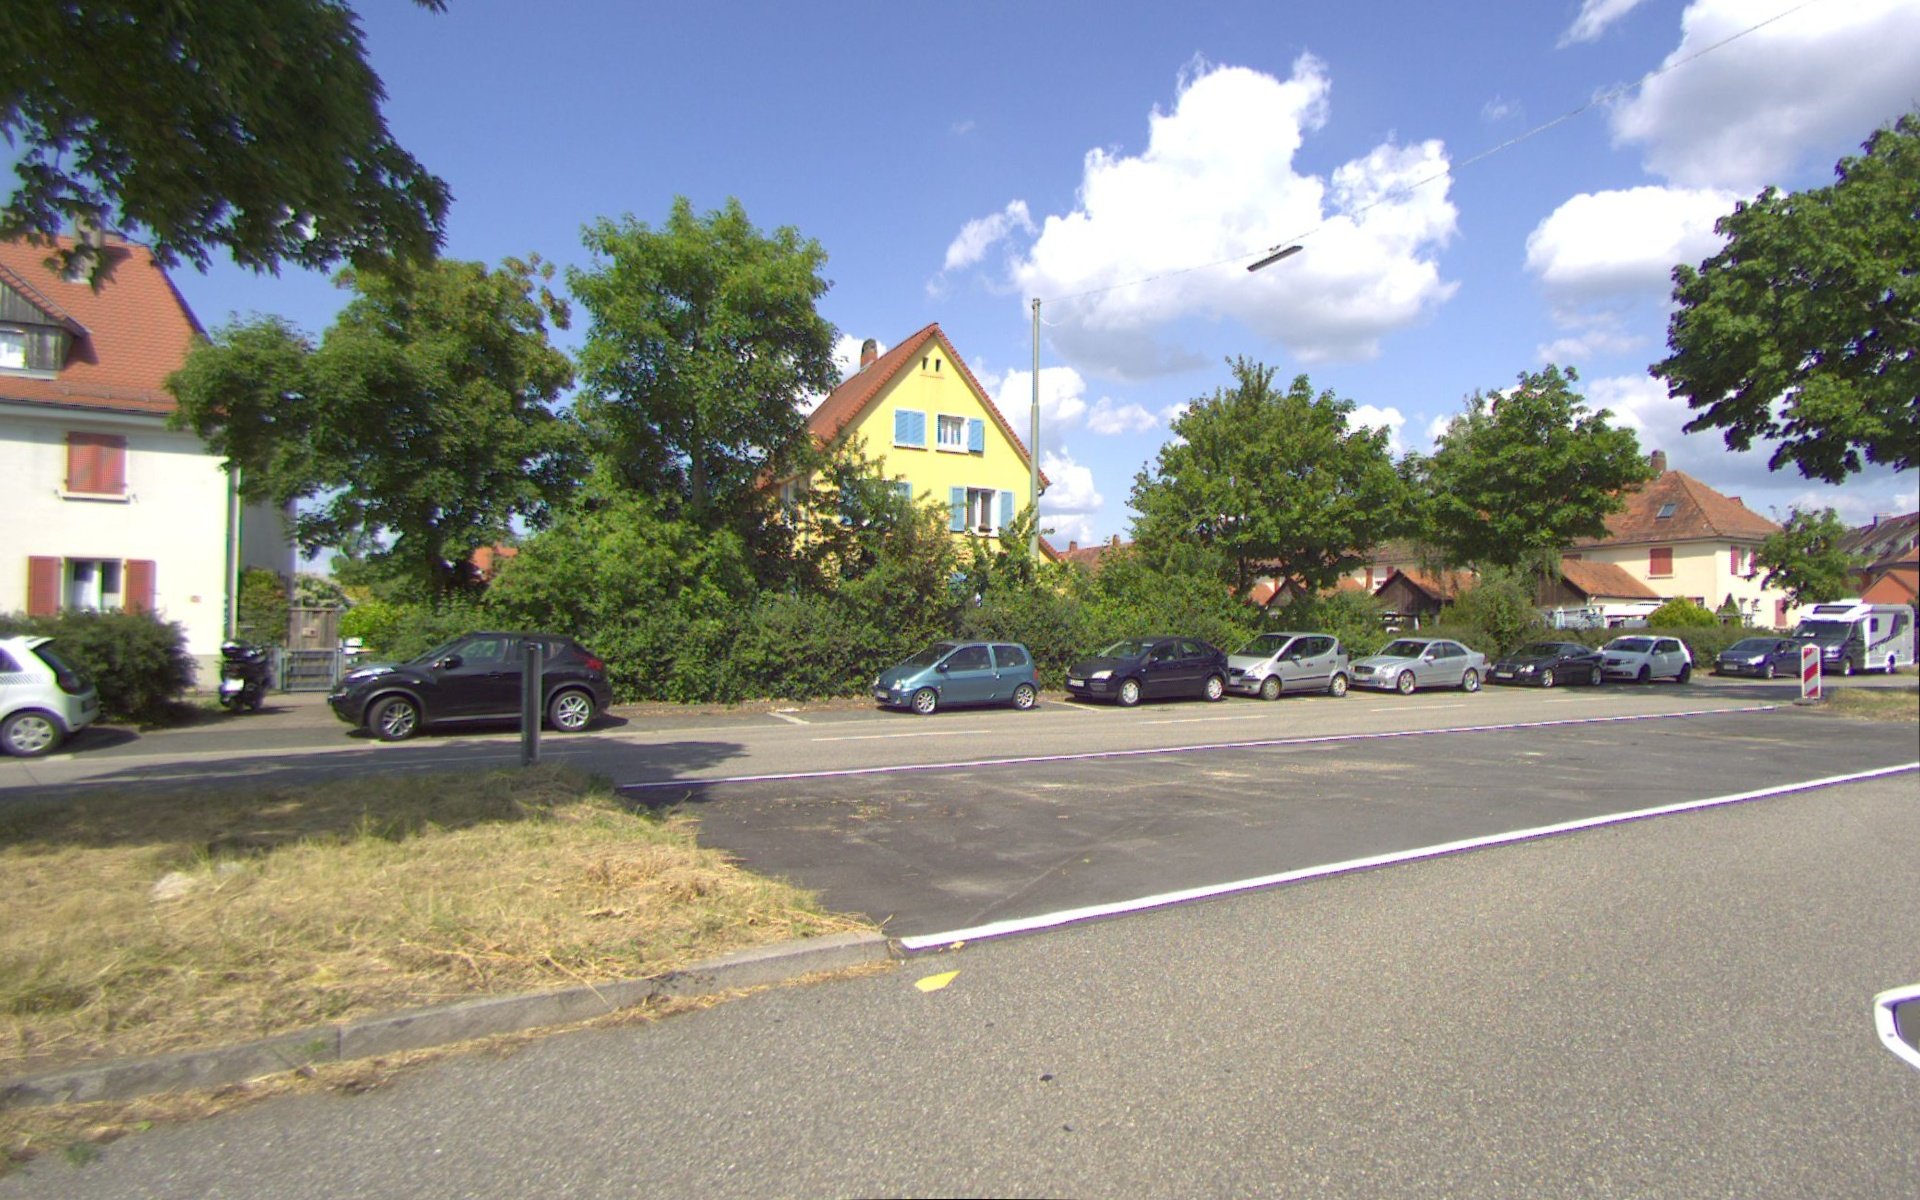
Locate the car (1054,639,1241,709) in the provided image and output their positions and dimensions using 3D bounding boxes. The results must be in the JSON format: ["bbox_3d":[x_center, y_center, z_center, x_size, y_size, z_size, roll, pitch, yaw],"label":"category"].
[{"bbox_3d":[4.311,1.626,22.829,4.306,1.413,1.396,1,1,-30],"label":"car"}]

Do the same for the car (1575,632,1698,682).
[{"bbox_3d":[22.535,1.886,33.424,4.073,1.505,1.682,2,0,-29],"label":"car"}]

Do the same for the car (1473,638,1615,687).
[{"bbox_3d":[17.967,1.885,30.859,4.527,1.324,1.629,1,1,-29],"label":"car"}]

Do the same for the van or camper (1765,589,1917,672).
[{"bbox_3d":[36.001,1.185,40.978,7.229,3.154,2.249,1,1,-29],"label":"van or camper"}]

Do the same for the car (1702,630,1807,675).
[{"bbox_3d":[29.614,1.951,37.413,3.943,1.505,1.629,2,0,-29],"label":"car"}]

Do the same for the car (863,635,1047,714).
[{"bbox_3d":[-0.085,1.478,20.476,3.437,1.413,1.555,2,0,-30],"label":"car"}]

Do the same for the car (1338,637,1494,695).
[{"bbox_3d":[12.495,1.751,27.453,4.475,1.388,1.504,1,1,-29],"label":"car"}]

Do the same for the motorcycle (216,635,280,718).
[{"bbox_3d":[-12.711,1.335,17.979,0.739,1.313,1.854,2,0,-30],"label":"motorcycle"}]

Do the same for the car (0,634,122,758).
[{"bbox_3d":[-13.298,1.195,12.772,3.803,1.471,1.652,2,0,-31],"label":"car"}]

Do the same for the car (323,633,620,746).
[{"bbox_3d":[-7.652,1.317,15.912,4.056,1.501,1.652,1,1,-31],"label":"car"}]

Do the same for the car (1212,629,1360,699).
[{"bbox_3d":[8.194,1.566,25.181,3.698,1.578,1.396,1,0,-30],"label":"car"}]
